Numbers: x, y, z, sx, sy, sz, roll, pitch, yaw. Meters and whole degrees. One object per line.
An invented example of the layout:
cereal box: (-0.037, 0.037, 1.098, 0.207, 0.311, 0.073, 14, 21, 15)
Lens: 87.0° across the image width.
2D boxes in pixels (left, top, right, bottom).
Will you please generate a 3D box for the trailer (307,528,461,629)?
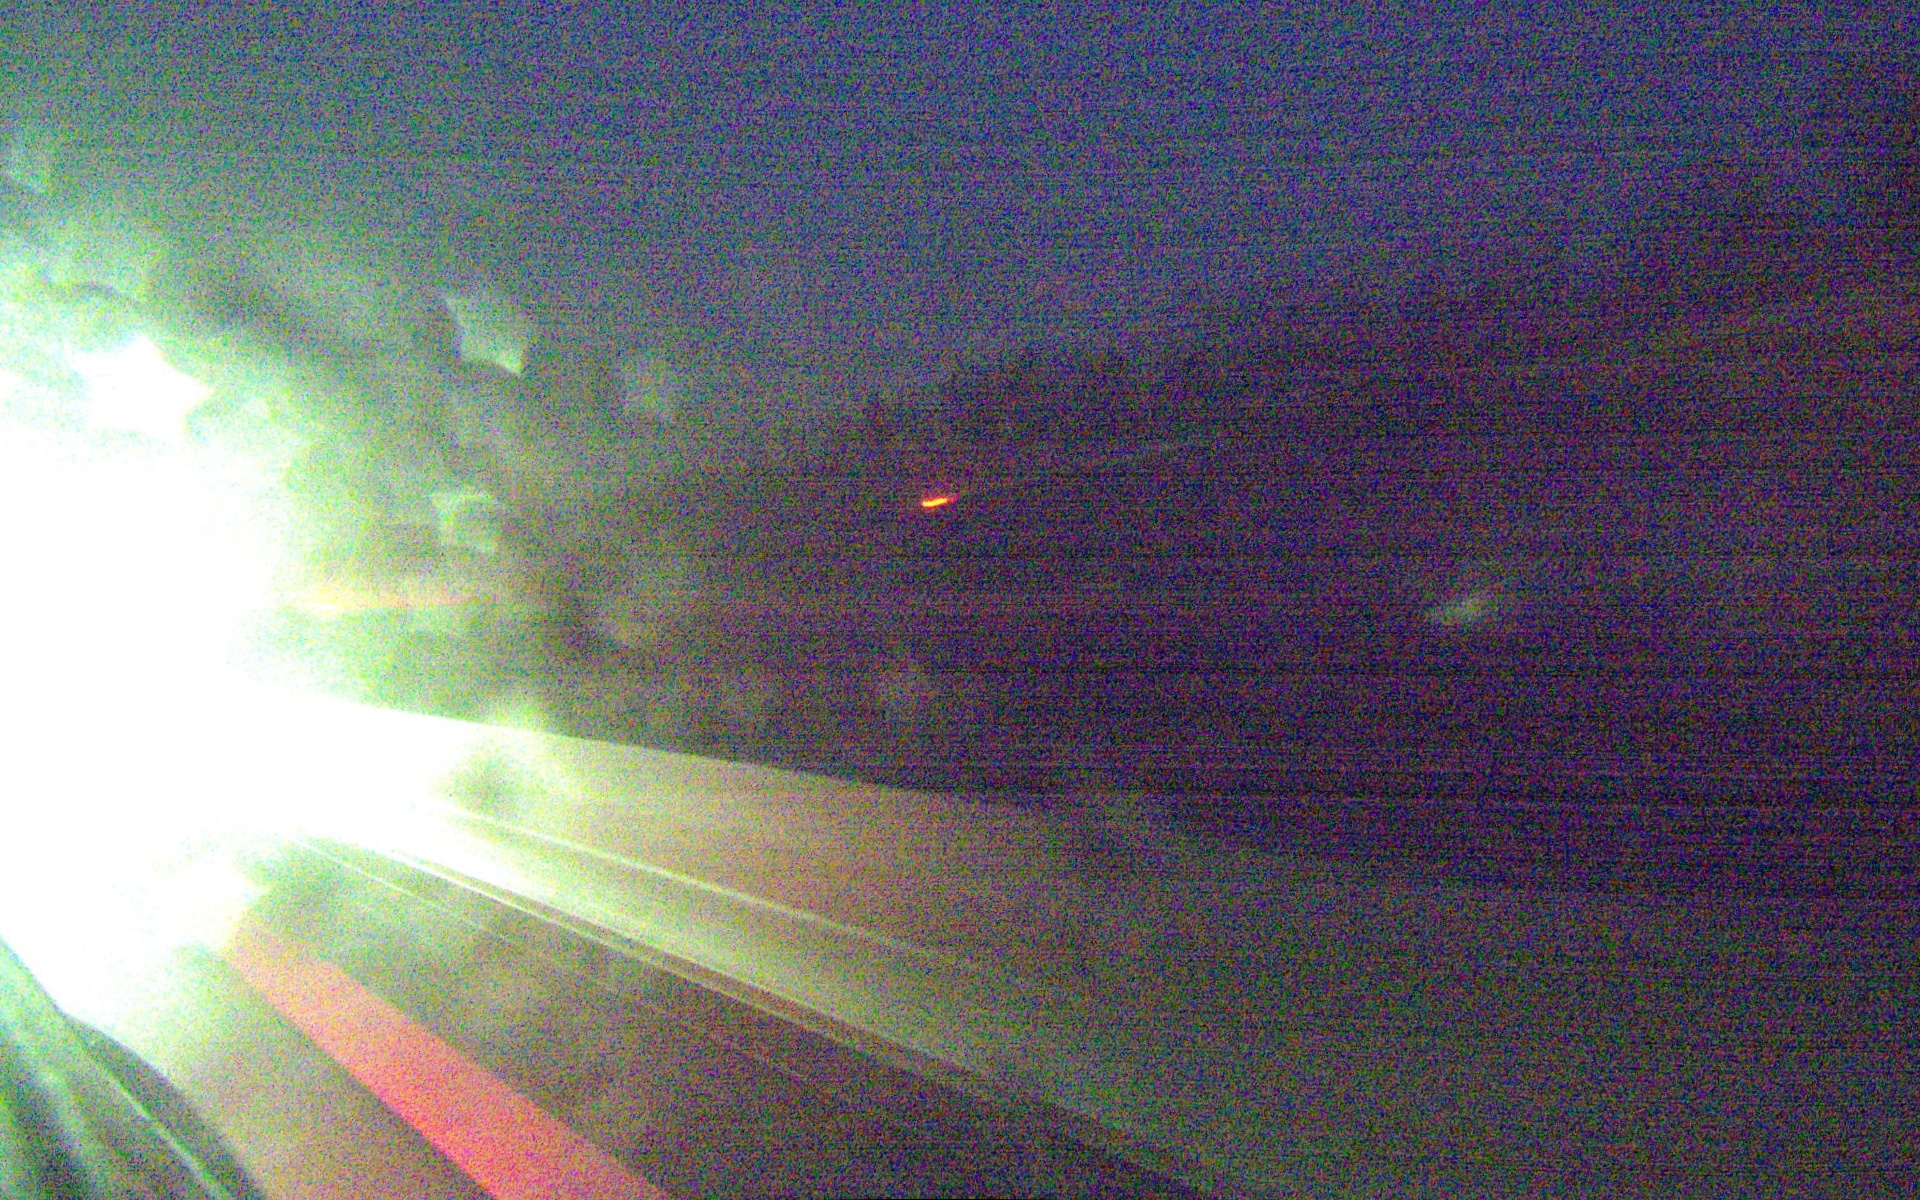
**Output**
trailer: (-25.551, -0.820, 44.595, 9.499, 3.776, 2.897, -3, 3, 43)

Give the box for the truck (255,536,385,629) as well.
truck: (-32.833, -0.764, 51.661, 10.656, 4.066, 2.916, -3, 3, 44)

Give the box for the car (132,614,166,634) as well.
car: (-77.508, 2.313, 96.693, 4.001, 1.697, 1.972, -3, 3, 44)

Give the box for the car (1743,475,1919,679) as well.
car: (9.164, -0.304, 8.484, 3.997, 1.676, 1.974, -3, 3, 40)
